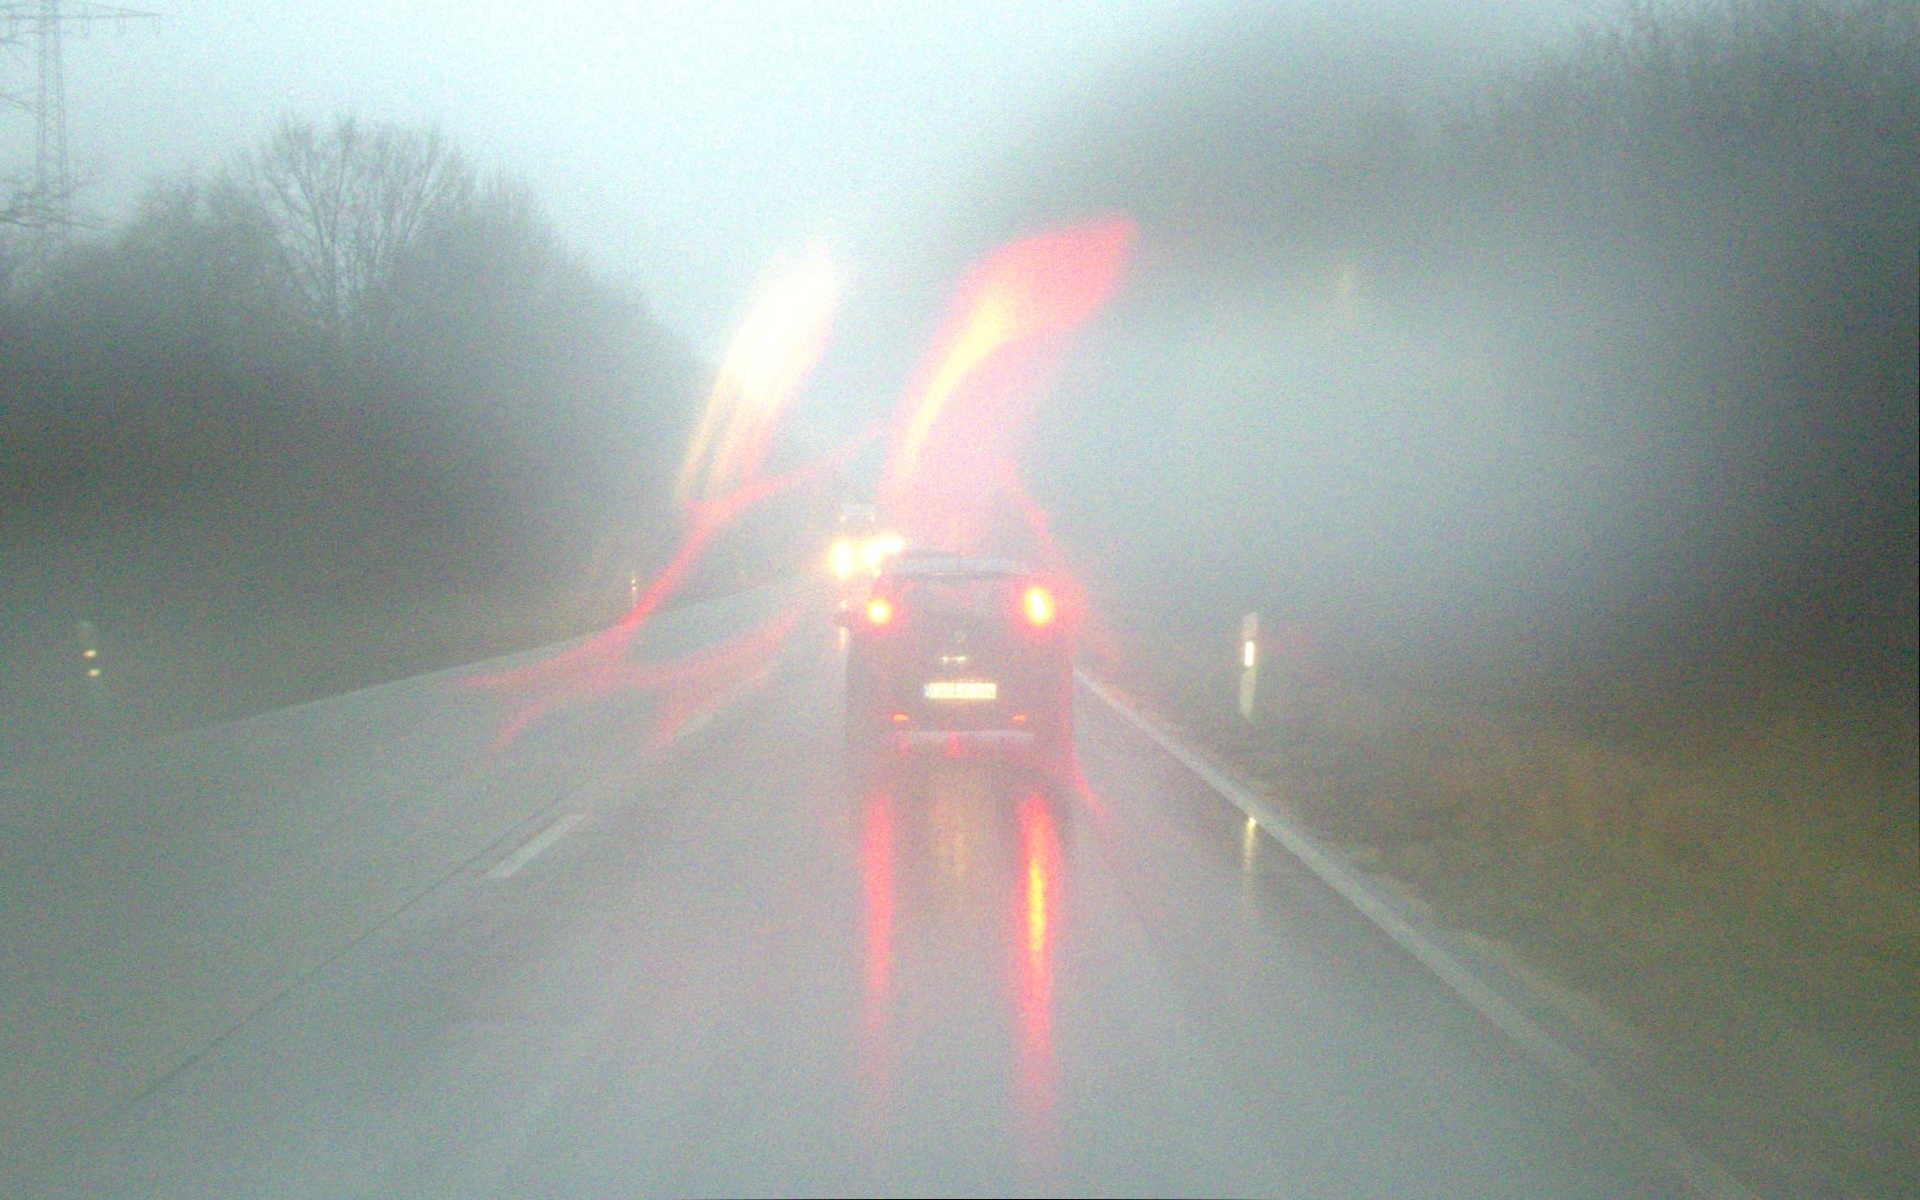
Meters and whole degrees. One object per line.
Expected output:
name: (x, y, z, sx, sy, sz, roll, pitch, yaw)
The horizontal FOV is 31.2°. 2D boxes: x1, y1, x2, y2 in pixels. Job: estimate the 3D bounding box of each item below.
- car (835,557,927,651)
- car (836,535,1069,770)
car: (-1.518, 0.048, 66.883, 1.733, 1.773, 4.000, 0, 1, -1)
car: (-0.069, 0.350, 26.211, 1.648, 1.666, 3.514, 0, 1, -1)
